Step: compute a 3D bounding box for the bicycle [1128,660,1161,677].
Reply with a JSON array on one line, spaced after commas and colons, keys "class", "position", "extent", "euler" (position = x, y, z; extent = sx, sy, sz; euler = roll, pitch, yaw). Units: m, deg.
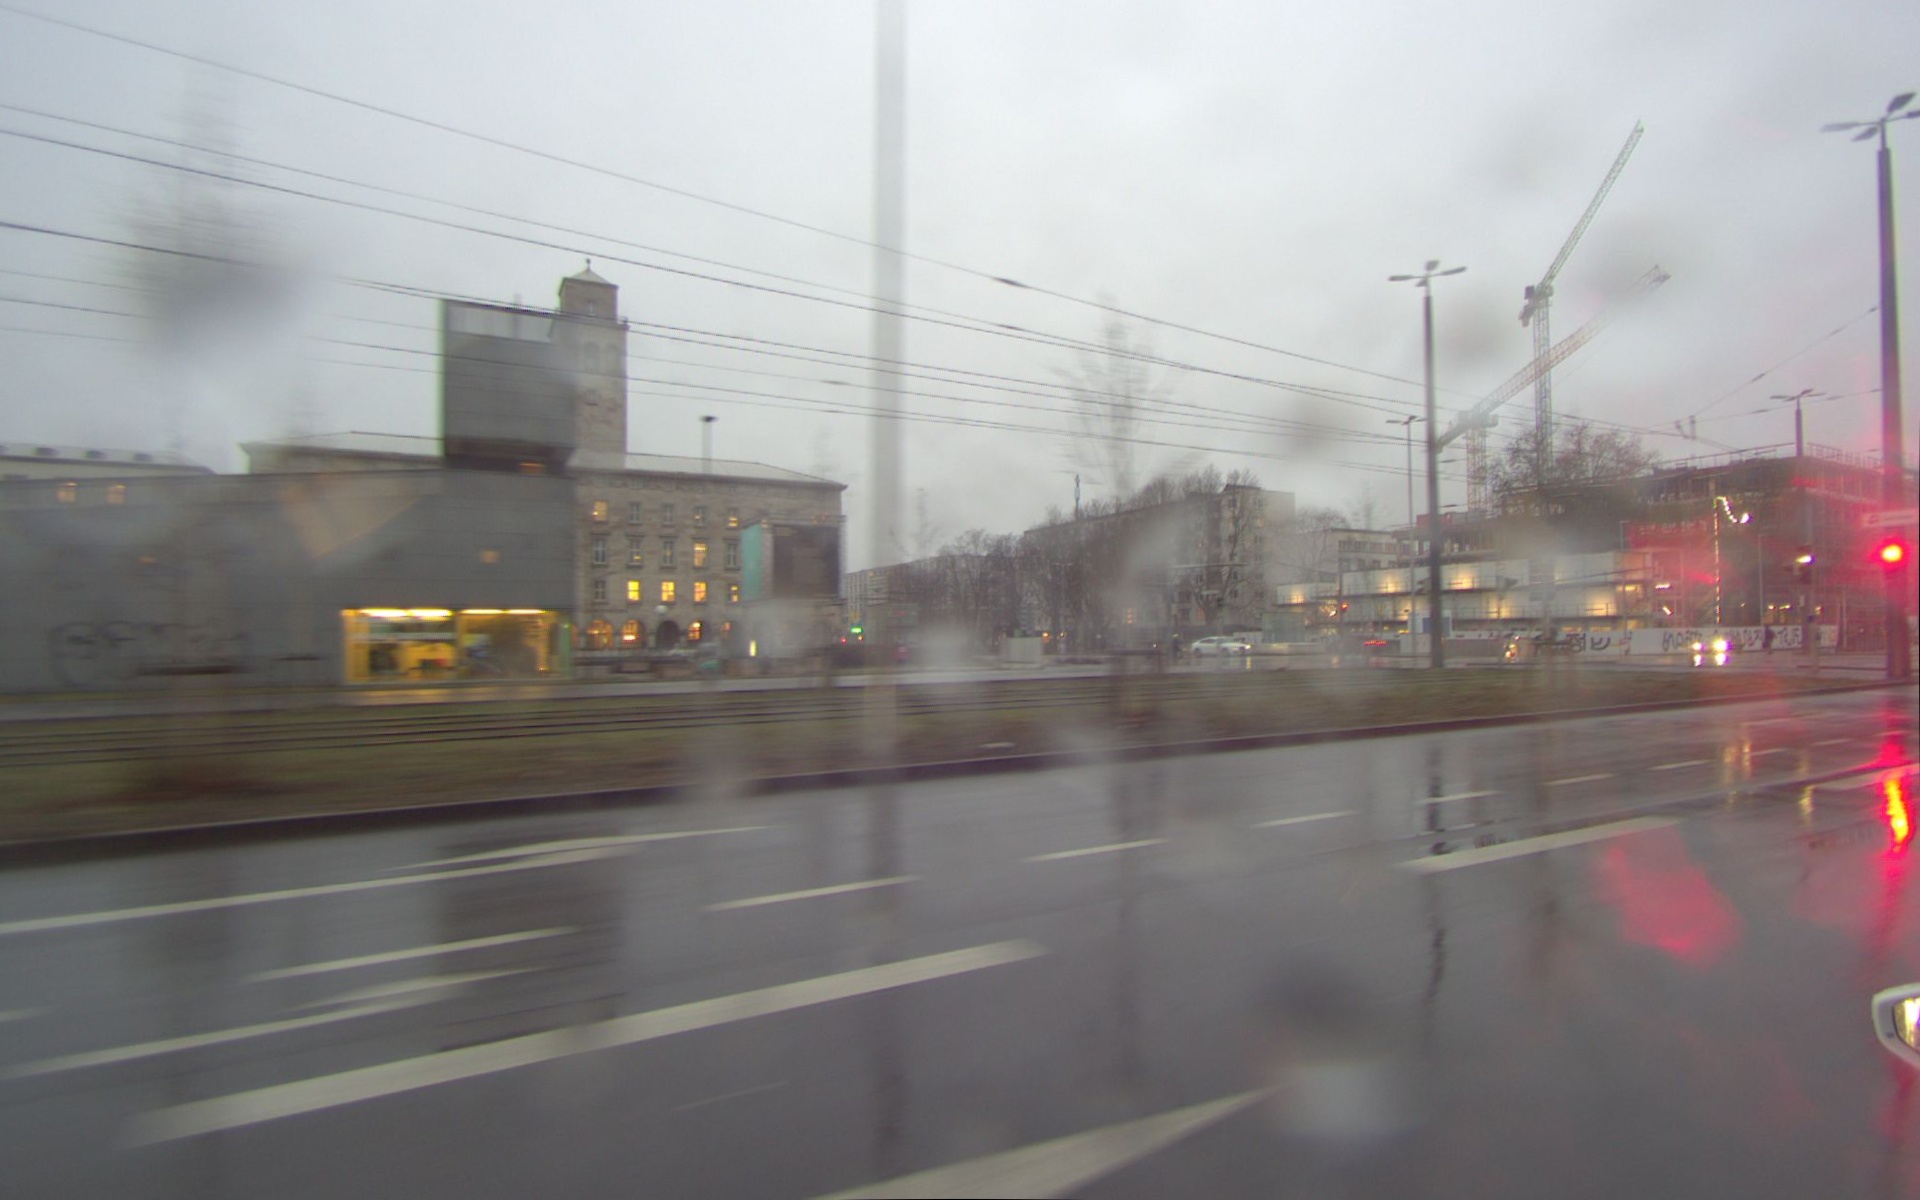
[{"class": "bicycle", "position": [11.742, 4.367, 64.048], "extent": [0.611, 1.046, 2.358], "euler": [1, -3, -34]}]

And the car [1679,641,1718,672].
[{"class": "car", "position": [51.392, 3.894, 69.882], "extent": [1.737, 2.040, 3.978], "euler": [-3, -3, 43]}]

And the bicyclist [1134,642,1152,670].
[{"class": "bicyclist", "position": [11.687, 3.581, 64.147], "extent": [0.611, 1.719, 1.027], "euler": [1, -3, -35]}]

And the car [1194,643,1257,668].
[{"class": "car", "position": [18.620, 3.922, 70.574], "extent": [1.977, 1.706, 3.968], "euler": [0, -3, -31]}]

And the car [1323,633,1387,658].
[{"class": "car", "position": [29.004, 3.335, 73.890], "extent": [1.980, 1.772, 3.963], "euler": [1, -3, -34]}]

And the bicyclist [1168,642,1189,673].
[{"class": "bicyclist", "position": [13.144, 3.465, 60.429], "extent": [0.714, 1.862, 0.987], "euler": [1, -4, -37]}]

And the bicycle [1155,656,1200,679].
[{"class": "bicycle", "position": [13.084, 4.072, 60.542], "extent": [0.714, 1.380, 2.811], "euler": [1, -4, -37]}]
